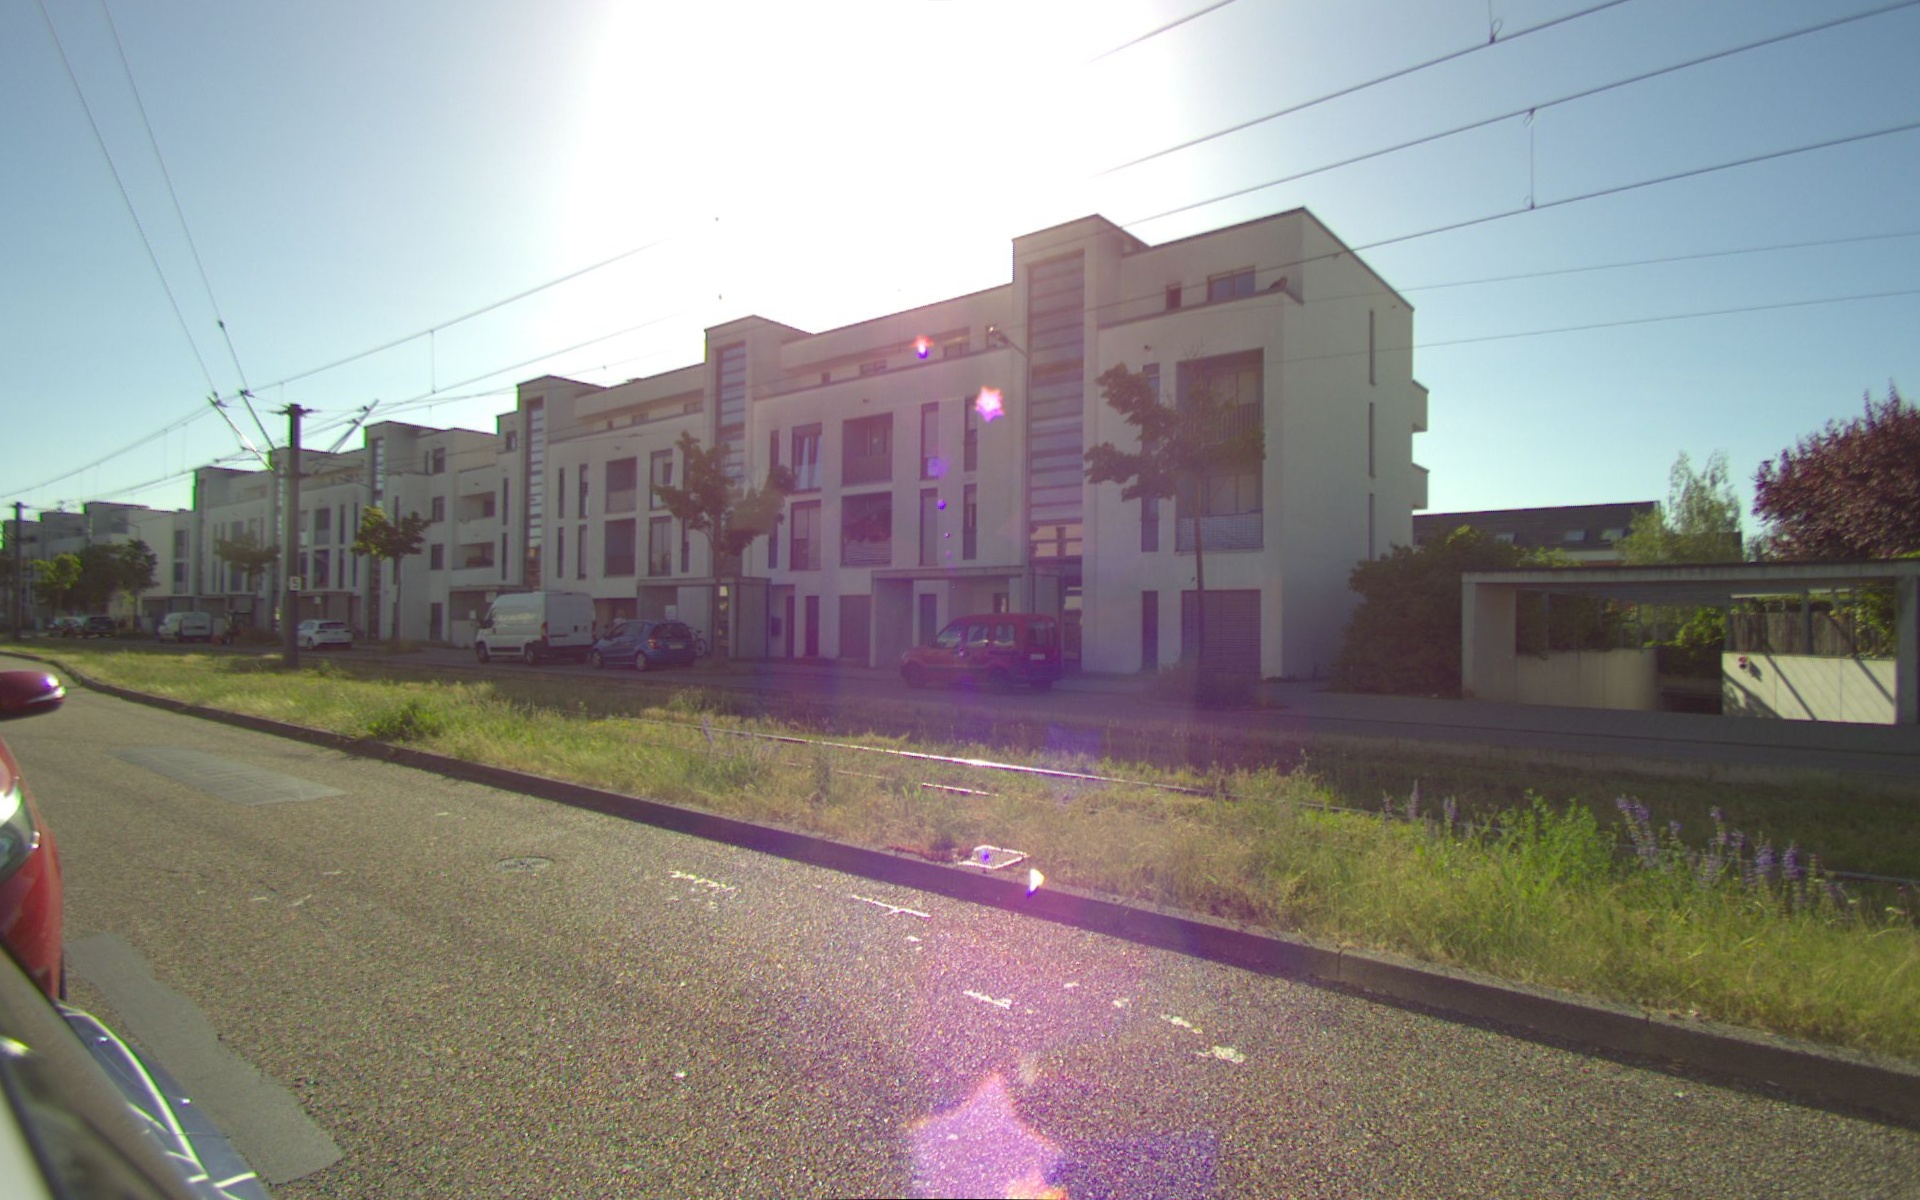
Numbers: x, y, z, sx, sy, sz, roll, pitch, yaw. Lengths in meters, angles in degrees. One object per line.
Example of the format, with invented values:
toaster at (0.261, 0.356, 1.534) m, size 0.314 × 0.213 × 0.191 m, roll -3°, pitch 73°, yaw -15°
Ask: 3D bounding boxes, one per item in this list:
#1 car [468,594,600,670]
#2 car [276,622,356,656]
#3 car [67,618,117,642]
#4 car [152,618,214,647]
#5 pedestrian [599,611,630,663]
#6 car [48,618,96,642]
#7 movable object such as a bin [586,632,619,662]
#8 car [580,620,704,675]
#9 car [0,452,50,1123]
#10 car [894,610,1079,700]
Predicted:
car at (-15.189, 1.069, 35.938) m, size 5.193 × 2.491 × 2.197 m, roll -1°, pitch 0°, yaw 40°
car at (-31.130, 1.831, 48.892) m, size 4.277 × 1.517 × 1.900 m, roll -1°, pitch 0°, yaw 37°
car at (-62.971, 2.155, 73.398) m, size 4.277 × 1.693 × 1.900 m, roll -1°, pitch 0°, yaw 37°
car at (-47.349, 1.953, 61.618) m, size 4.277 × 1.693 × 1.900 m, roll -1°, pitch 0°, yaw 37°
pedestrian at (-12.501, 1.325, 36.644) m, size 0.785 × 1.836 × 0.766 m, roll -1°, pitch 0°, yaw 41°
car at (-67.516, 2.245, 76.923) m, size 4.277 × 1.693 × 1.900 m, roll -1°, pitch 0°, yaw 37°
movable object such as a bin at (-13.176, 1.718, 37.285) m, size 1.083 × 1.062 × 0.719 m, roll -1°, pitch 0°, yaw 42°
car at (-9.994, 1.443, 31.733) m, size 3.833 × 1.556 × 1.973 m, roll -1°, pitch 0°, yaw 40°
car at (-4.901, 0.549, 3.678) m, size 4.505 × 1.868 × 1.850 m, roll -1°, pitch 0°, yaw 41°
car at (0.544, 1.164, 23.012) m, size 3.895 × 1.842 × 1.972 m, roll -1°, pitch 0°, yaw 43°
